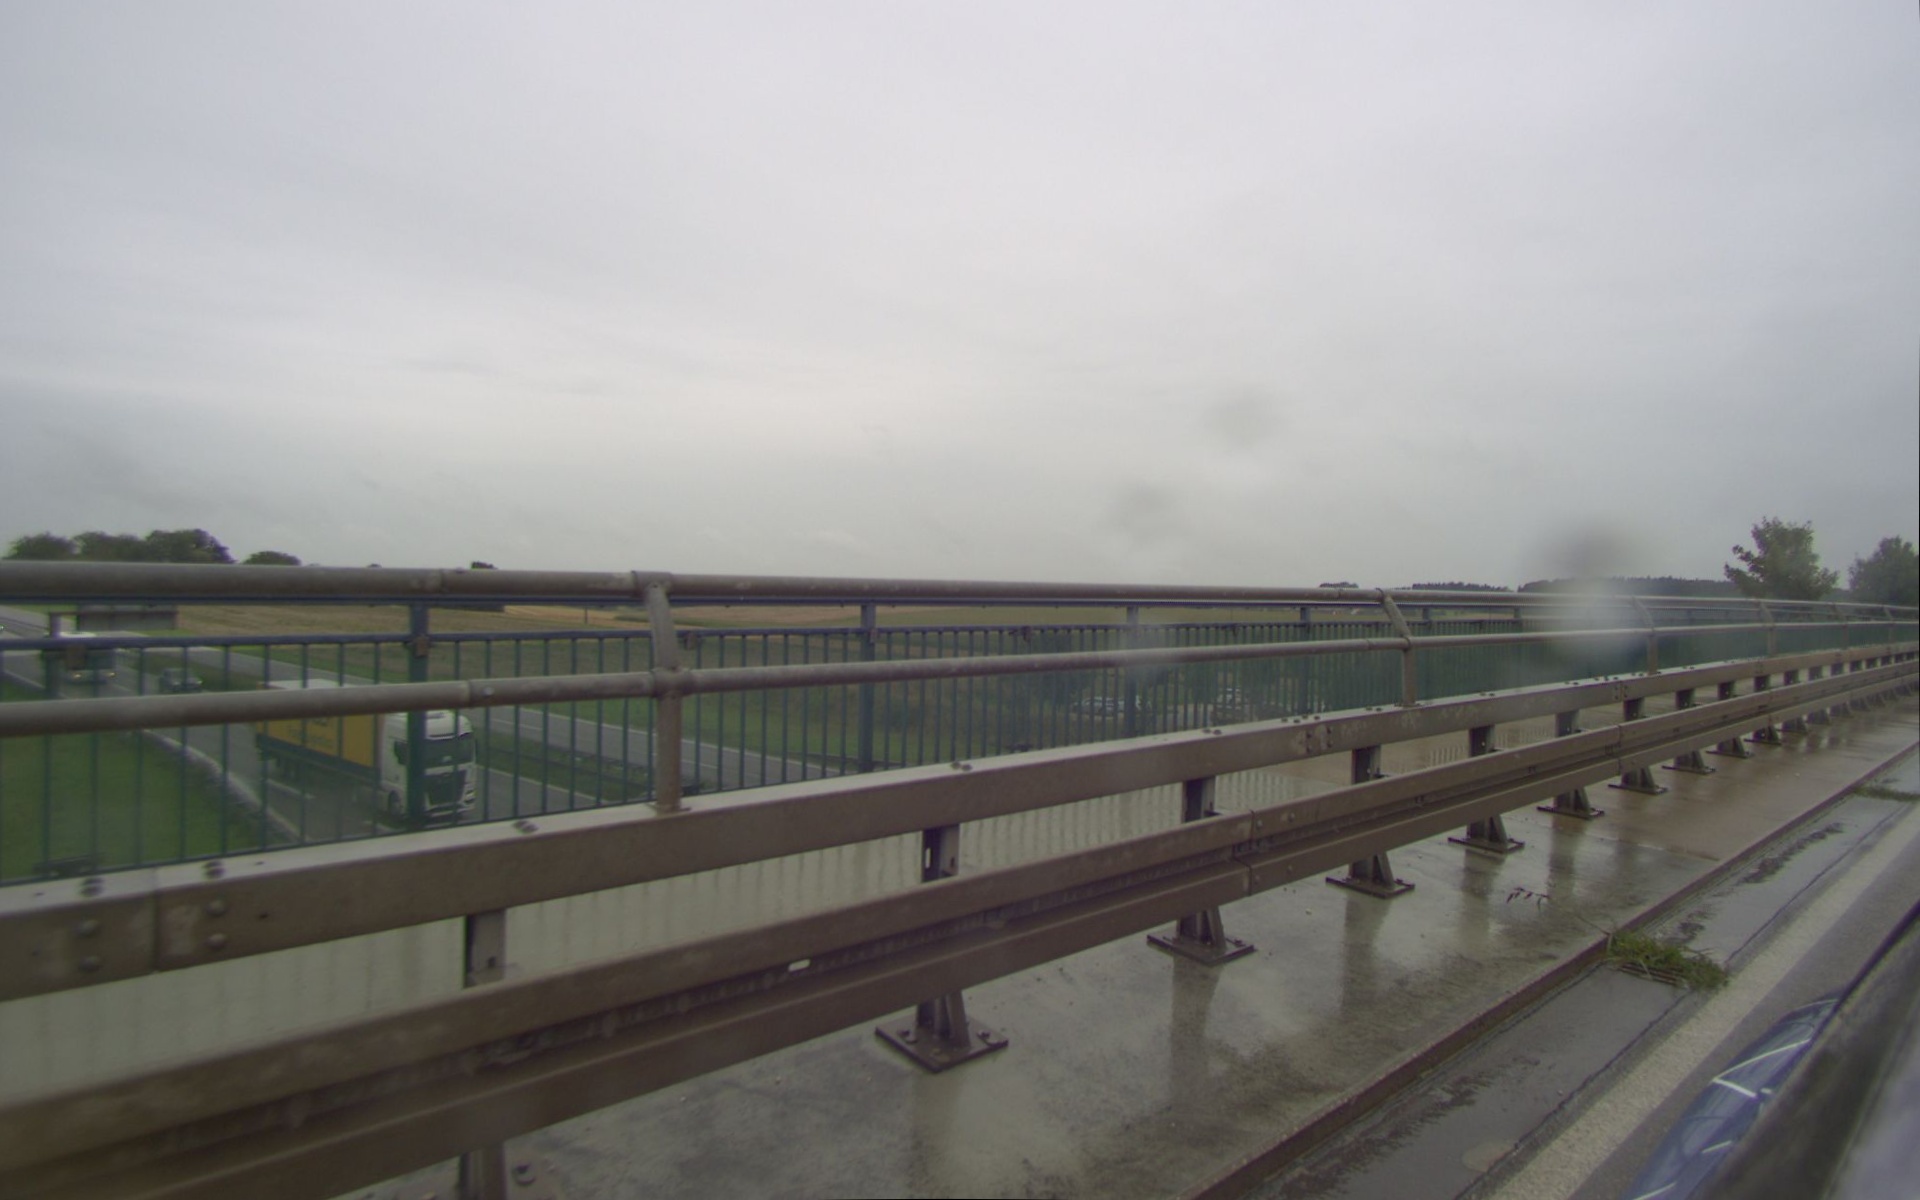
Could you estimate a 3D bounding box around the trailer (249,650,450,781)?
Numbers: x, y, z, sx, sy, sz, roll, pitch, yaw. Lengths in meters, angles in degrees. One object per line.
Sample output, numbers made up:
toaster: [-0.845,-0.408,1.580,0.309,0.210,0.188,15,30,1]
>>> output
trailer: [-26.327,4.548,43.078,13.957,4.018,2.841,2,0,40]

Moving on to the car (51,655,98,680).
car: [-68.152,5.164,77.864,3.977,1.786,1.973,-1,-2,38]

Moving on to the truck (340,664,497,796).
truck: [-20.631,4.724,38.390,6.788,4.018,2.841,2,0,40]

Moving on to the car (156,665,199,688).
car: [-57.078,5.568,73.832,3.981,1.369,1.653,1,0,40]

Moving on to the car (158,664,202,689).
car: [-57.137,5.583,74.130,3.979,1.368,1.654,2,2,38]
